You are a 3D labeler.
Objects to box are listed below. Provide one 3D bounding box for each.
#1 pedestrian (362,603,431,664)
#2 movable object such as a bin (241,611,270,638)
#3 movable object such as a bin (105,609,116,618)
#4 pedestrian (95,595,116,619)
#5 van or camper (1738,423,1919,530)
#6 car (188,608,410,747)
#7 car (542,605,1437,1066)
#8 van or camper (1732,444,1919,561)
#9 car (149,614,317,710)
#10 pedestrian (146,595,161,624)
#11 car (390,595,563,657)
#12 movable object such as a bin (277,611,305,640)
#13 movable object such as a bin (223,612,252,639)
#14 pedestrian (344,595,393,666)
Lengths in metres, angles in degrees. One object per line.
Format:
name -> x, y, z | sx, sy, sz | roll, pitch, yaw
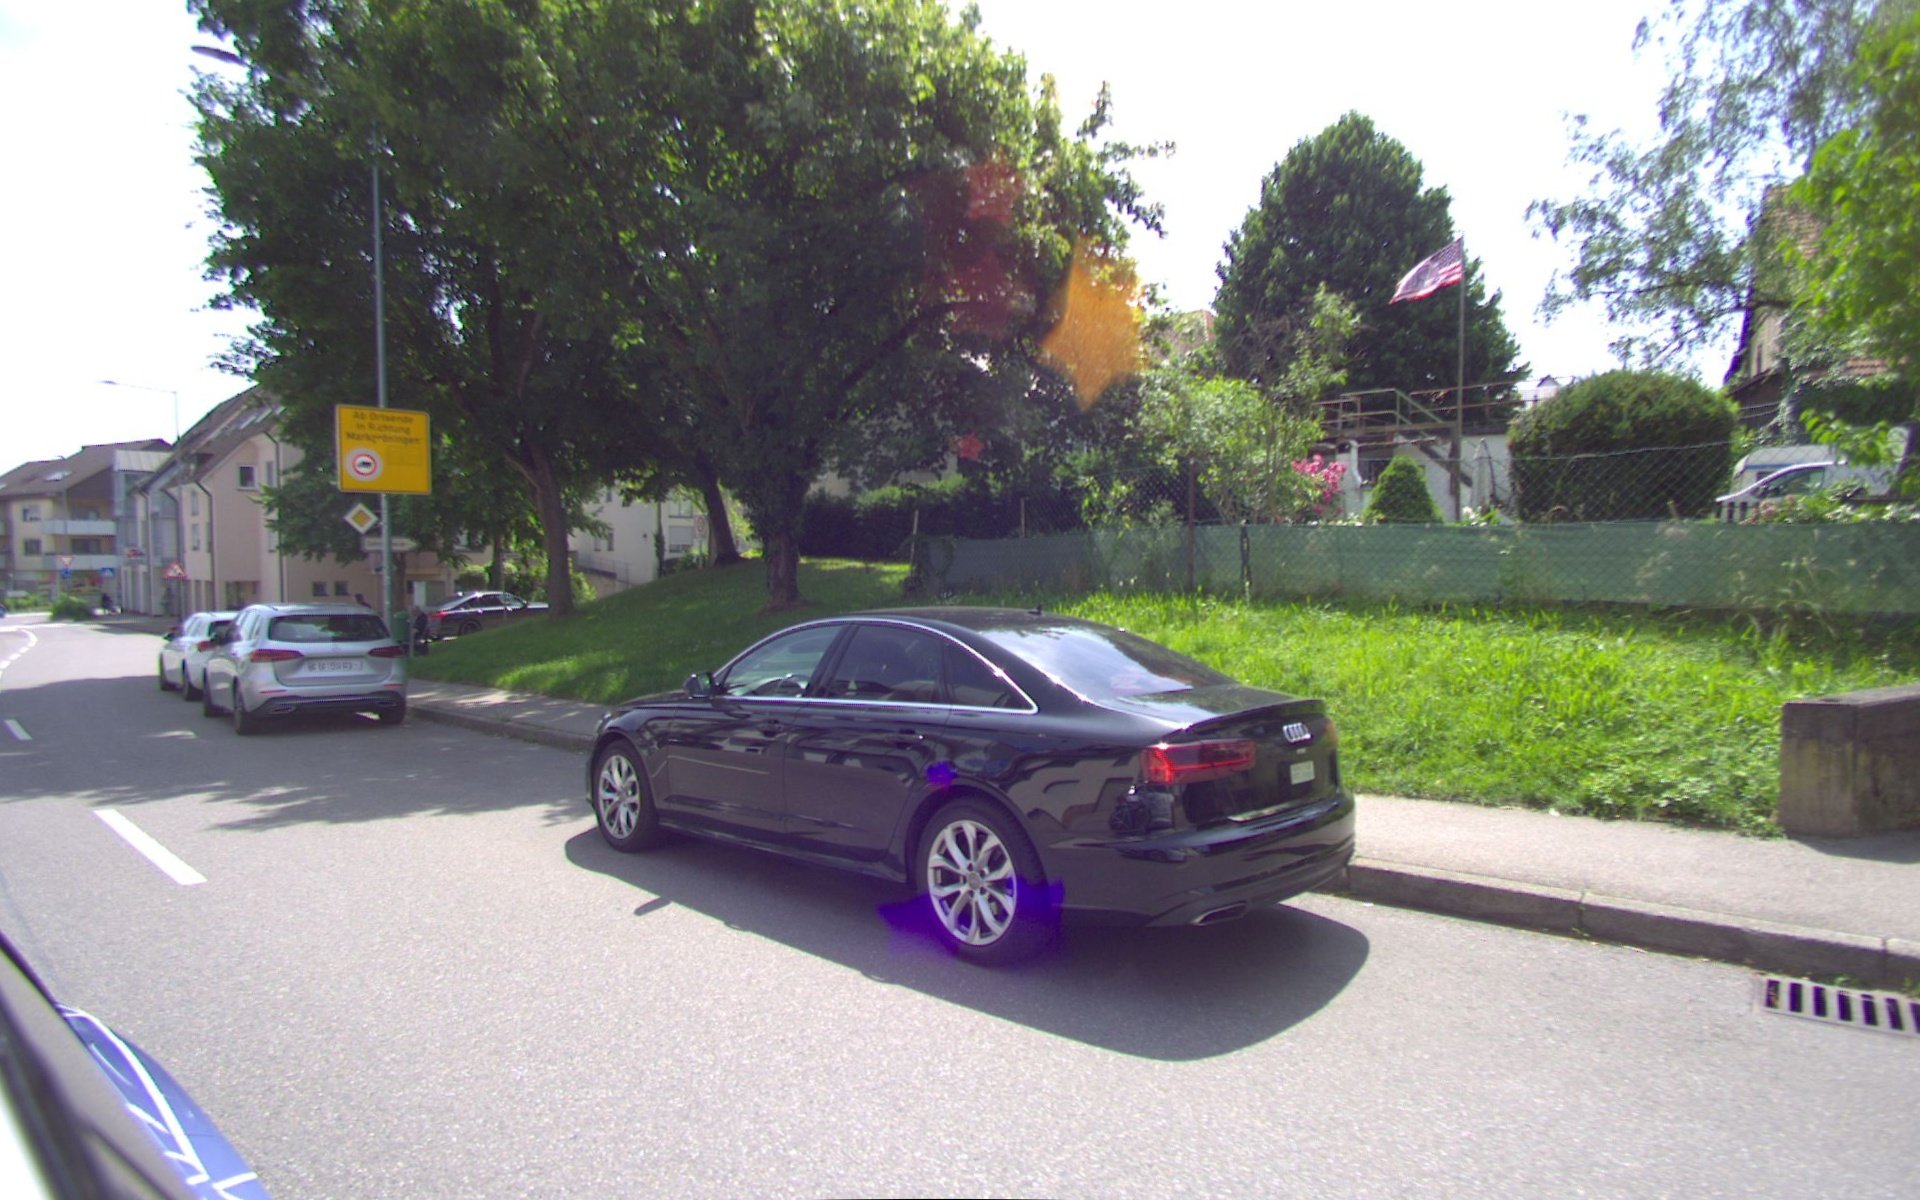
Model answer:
pedestrian -> -12.791, 0.739, 22.988 | 1.221, 1.278, 0.647 | -3, 2, -40
movable object such as a bin -> -28.163, 0.968, 40.448 | 0.791, 1.007, 0.806 | -4, 3, -42
movable object such as a bin -> -55.311, 0.881, 65.900 | 0.468, 0.586, 0.453 | 0, 2, 37
pedestrian -> -55.704, 0.446, 65.970 | 0.955, 1.489, 0.792 | 0, 2, 37
van or camper -> 19.994, -2.679, 21.913 | 4.804, 2.028, 1.978 | -1, 2, 34
car -> -8.829, 0.896, 13.366 | 1.751, 1.539, 4.226 | 1, -1, -43
car -> -0.298, 0.796, 5.520 | 4.928, 1.434, 1.785 | -2, -1, 43
van or camper -> 17.634, -1.870, 19.628 | 1.971, 2.028, 4.002 | -4, 2, -45
car -> -12.819, 0.990, 17.729 | 1.734, 1.478, 4.365 | 1, -1, -44
pedestrian -> -48.088, 0.559, 60.343 | 0.568, 1.721, 0.580 | -4, 3, -42
car -> -15.447, 0.772, 32.619 | 1.990, 1.490, 4.749 | -1, 4, 27
movable object such as a bin -> -25.702, 0.976, 38.863 | 0.762, 1.007, 0.610 | -6, 6, -41
movable object such as a bin -> -28.427, 1.010, 39.844 | 0.841, 1.008, 0.695 | -2, 1, -42
pedestrian -> -14.055, 0.709, 24.064 | 0.626, 1.628, 0.726 | -1, 2, 26
